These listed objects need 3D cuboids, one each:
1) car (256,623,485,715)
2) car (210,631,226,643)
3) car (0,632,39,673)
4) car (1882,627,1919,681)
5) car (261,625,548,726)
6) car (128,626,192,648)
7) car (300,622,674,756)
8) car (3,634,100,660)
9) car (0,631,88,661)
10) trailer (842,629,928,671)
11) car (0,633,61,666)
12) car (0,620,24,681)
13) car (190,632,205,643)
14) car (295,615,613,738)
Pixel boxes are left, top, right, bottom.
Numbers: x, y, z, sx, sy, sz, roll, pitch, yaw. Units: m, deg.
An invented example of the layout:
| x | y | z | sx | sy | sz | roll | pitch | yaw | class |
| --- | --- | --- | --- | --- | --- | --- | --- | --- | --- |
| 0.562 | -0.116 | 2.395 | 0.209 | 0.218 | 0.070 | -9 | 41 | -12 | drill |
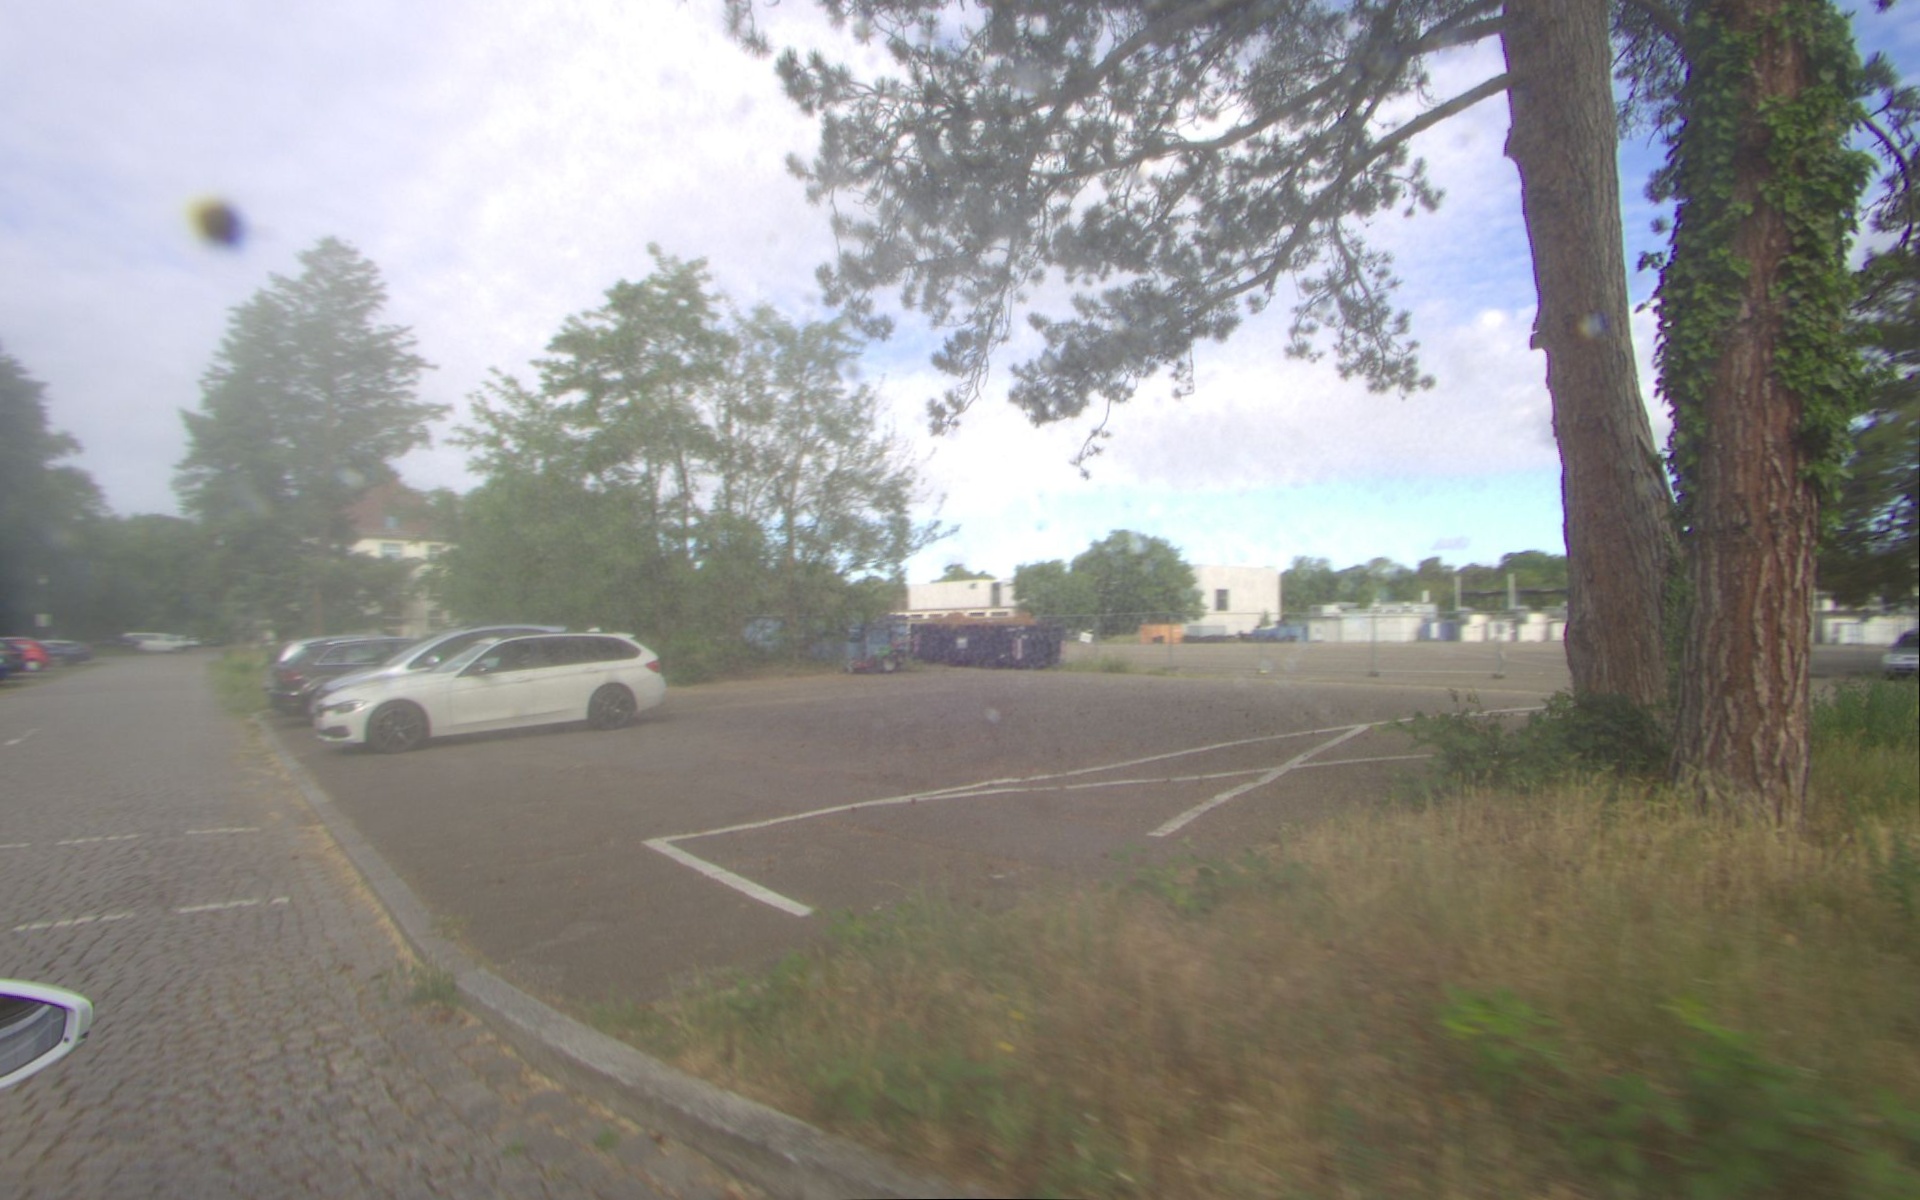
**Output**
| x | y | z | sx | sy | sz | roll | pitch | yaw | class |
| --- | --- | --- | --- | --- | --- | --- | --- | --- | --- |
| -11.902 | 1.315 | 20.321 | 3.741 | 1.500 | 1.728 | -2 | 1 | -41 | car |
| -115.737 | 5.831 | 156.194 | 1.775 | 1.741 | 4.031 | 1 | -3 | -39 | car |
| -38.917 | 2.035 | 39.210 | 4.035 | 1.595 | 1.939 | 2 | -2 | -39 | car |
| 28.430 | 1.557 | 29.269 | 4.108 | 1.493 | 1.848 | 1 | -1 | -42 | car |
| -10.074 | 1.280 | 18.346 | 4.329 | 1.425 | 1.782 | -2 | 1 | -39 | car |
| -80.186 | 3.702 | 100.431 | 4.938 | 2.098 | 2.037 | 2 | -4 | -39 | car |
| -6.647 | 1.151 | 14.394 | 4.513 | 1.444 | 1.812 | -2 | 0 | -41 | car |
| -53.798 | 2.767 | 59.391 | 4.032 | 1.486 | 1.615 | 2 | -2 | -34 | car |
| -51.147 | 2.531 | 55.550 | 4.039 | 1.624 | 1.773 | 2 | -2 | -39 | car |
| -2.175 | 1.477 | 29.385 | 2.294 | 1.184 | 1.135 | 2 | -3 | -39 | trailer |
| -45.147 | 2.330 | 47.331 | 3.785 | 1.508 | 1.773 | 2 | -2 | -39 | car |
| -33.513 | 1.614 | 32.263 | 4.671 | 2.006 | 2.022 | 2 | -2 | -38 | car |
| -117.600 | 5.824 | 154.344 | 1.775 | 1.656 | 4.031 | 1 | -3 | -39 | car |
| -8.180 | 1.139 | 16.442 | 4.297 | 1.595 | 1.810 | -2 | 0 | -43 | car |
